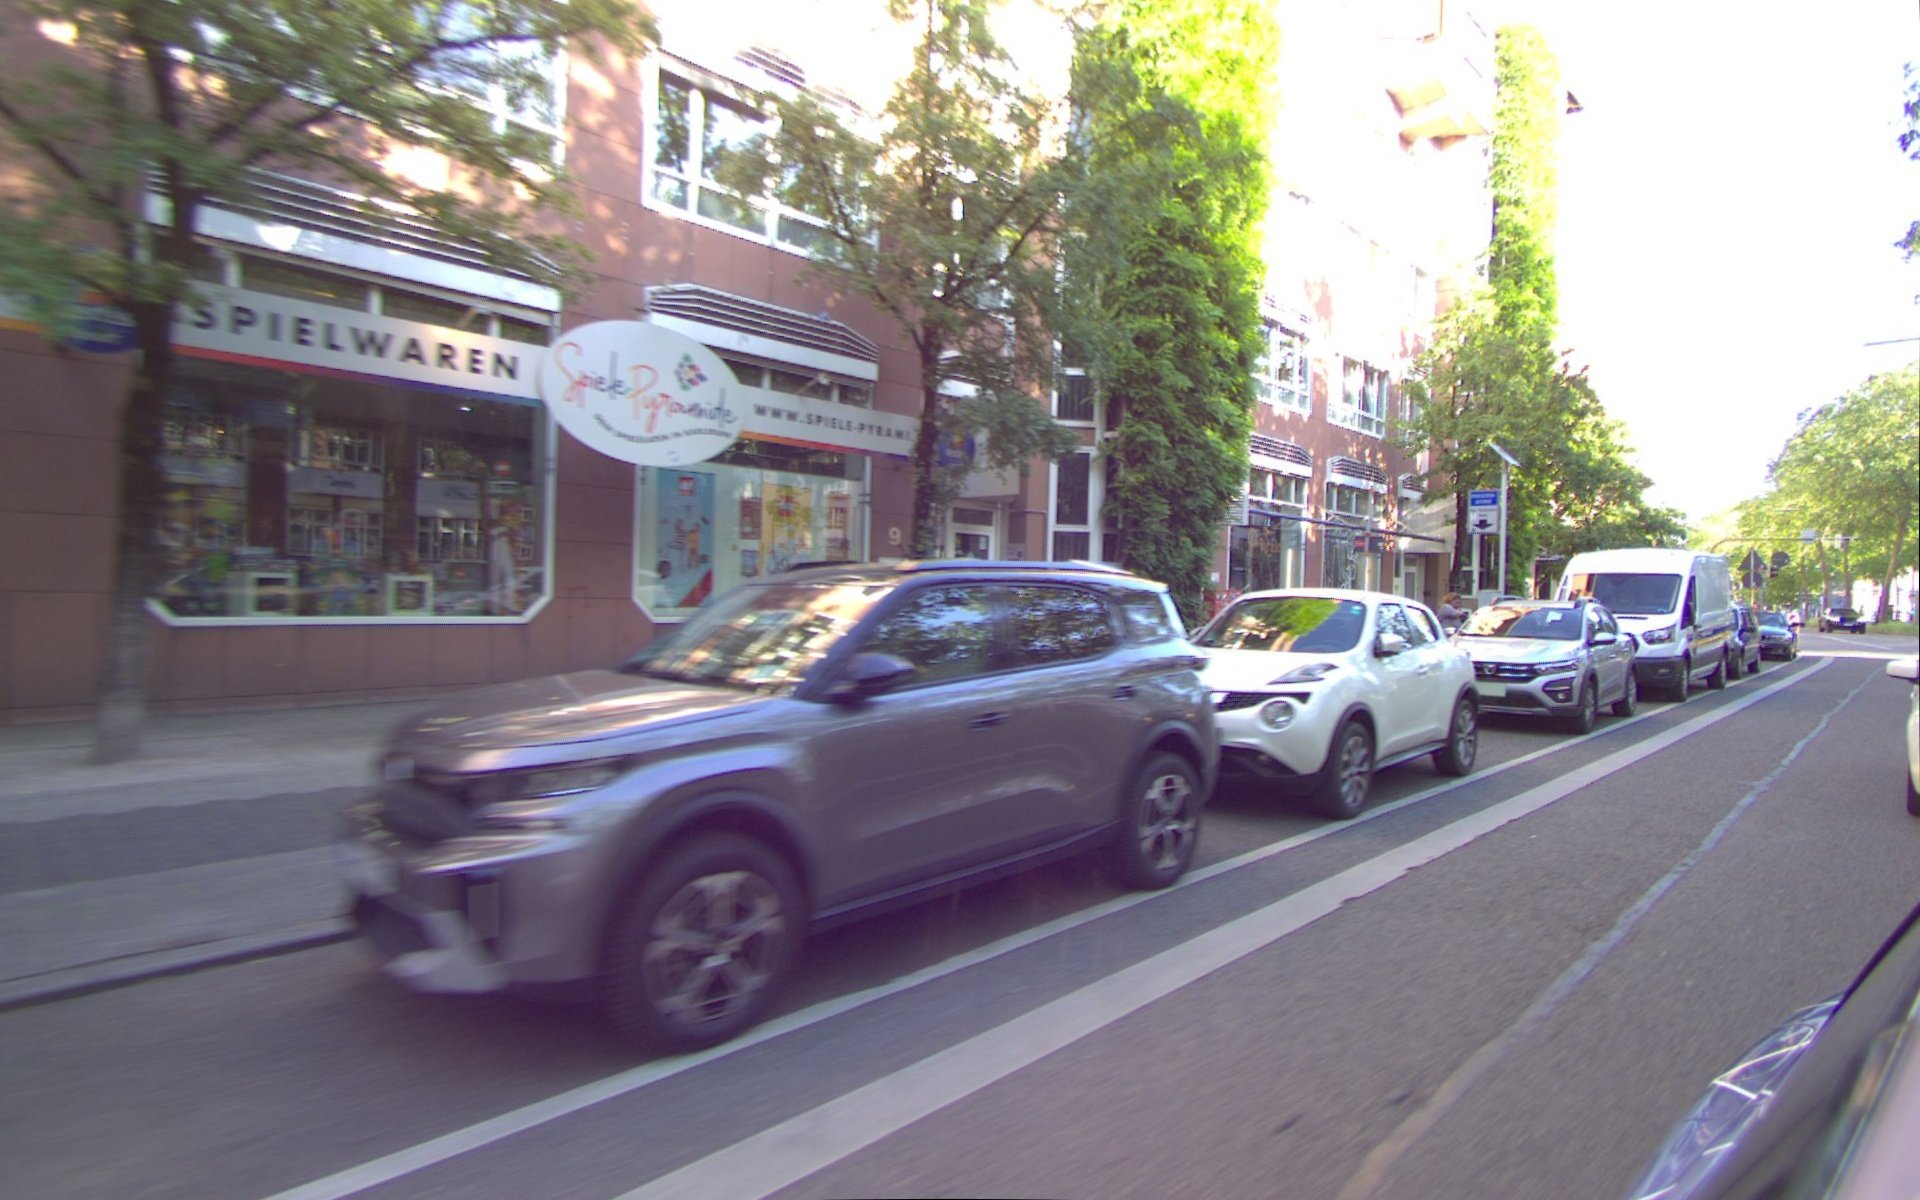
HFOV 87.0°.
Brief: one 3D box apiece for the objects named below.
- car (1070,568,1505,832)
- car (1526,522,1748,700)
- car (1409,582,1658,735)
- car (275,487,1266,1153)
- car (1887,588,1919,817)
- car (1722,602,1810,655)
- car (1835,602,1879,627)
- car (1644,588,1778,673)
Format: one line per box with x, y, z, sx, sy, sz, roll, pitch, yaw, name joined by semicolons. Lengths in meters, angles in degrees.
2.839;0.600;8.264;1.829;1.598;3.936;2;1;44;car
11.899;0.134;17.566;2.116;2.597;5.810;2;1;45;car
7.404;0.623;12.899;1.829;1.598;3.936;2;1;44;car
-0.431;0.538;4.775;1.788;1.691;4.369;2;1;44;car
8.355;0.708;7.675;1.802;1.519;4.138;2;1;41;car
23.245;0.775;29.147;1.802;1.347;3.932;2;1;41;car
58.431;0.925;65.878;1.994;1.552;3.937;0;0;44;car
16.597;0.601;22.282;1.804;1.647;4.404;2;1;44;car
